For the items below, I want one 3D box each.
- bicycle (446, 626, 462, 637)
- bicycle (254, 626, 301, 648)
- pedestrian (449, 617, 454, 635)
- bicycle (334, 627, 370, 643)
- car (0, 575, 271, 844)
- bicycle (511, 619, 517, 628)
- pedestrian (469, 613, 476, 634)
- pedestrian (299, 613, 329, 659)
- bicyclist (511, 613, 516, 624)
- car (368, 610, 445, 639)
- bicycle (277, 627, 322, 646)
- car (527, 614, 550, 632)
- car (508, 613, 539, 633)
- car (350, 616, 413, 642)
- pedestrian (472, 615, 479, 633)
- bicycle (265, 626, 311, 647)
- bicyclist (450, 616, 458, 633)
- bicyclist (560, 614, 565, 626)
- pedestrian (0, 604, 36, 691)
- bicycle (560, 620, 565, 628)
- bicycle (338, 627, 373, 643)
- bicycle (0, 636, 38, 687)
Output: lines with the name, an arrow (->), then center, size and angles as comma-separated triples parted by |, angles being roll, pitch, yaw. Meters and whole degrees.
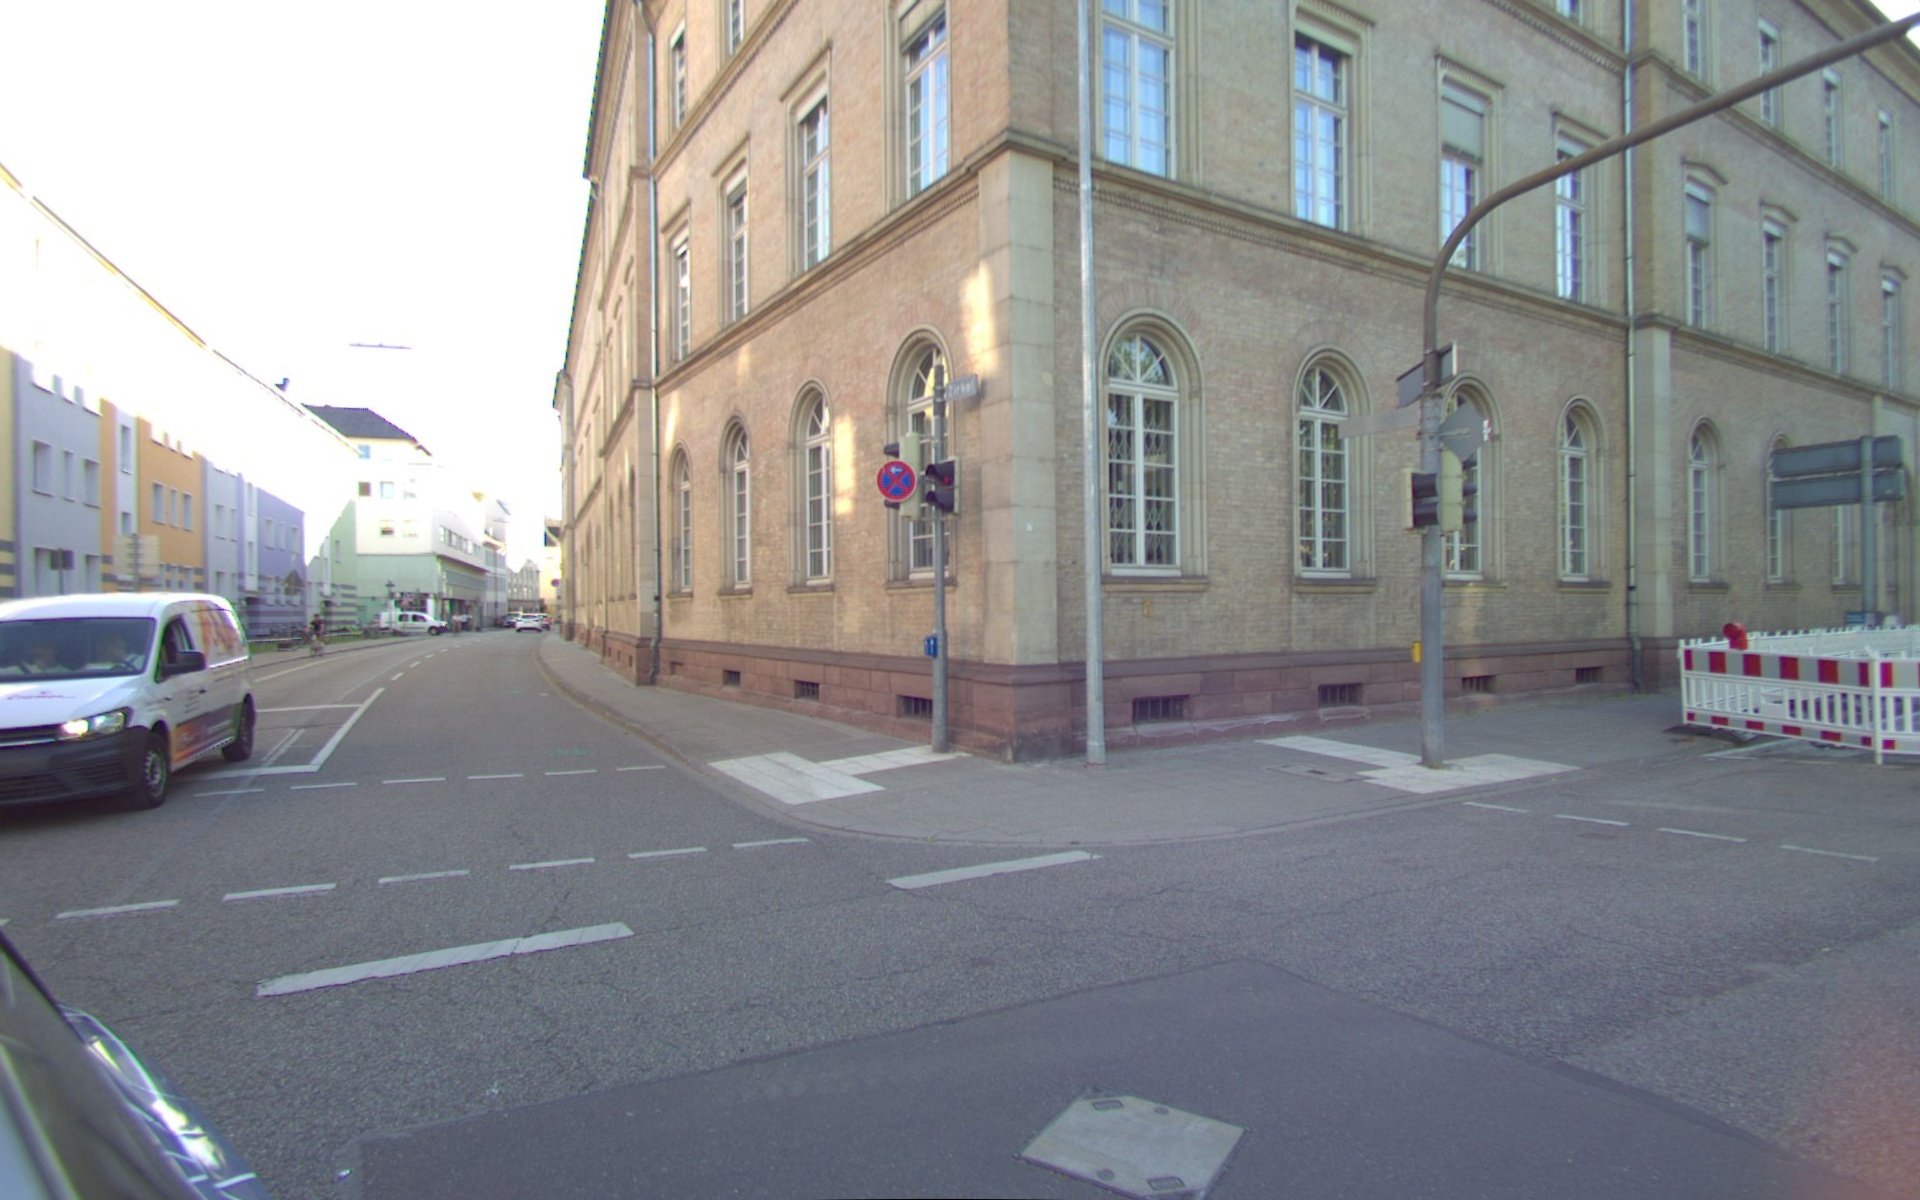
bicycle -> -34.933, 2.160, 69.874 | 0.345, 0.729, 1.111 | -1, -1, 18
bicycle -> -32.330, 1.752, 47.935 | 1.747, 1.003, 0.585 | 1, -1, -19
pedestrian -> -43.619, 2.242, 86.807 | 0.365, 1.567, 0.405 | -1, -1, -19
bicycle -> -36.979, 2.110, 61.548 | 1.747, 0.946, 0.585 | 1, -1, -19
car -> -7.945, 0.798, 9.307 | 1.789, 1.850, 5.359 | -1, -1, -25
bicycle -> -52.522, 2.749, 119.074 | 0.539, 1.091, 1.970 | -1, 0, -21
pedestrian -> -41.906, 2.032, 86.941 | 0.500, 1.775, 0.413 | -1, -1, -22
pedestrian -> -23.767, 1.310, 37.255 | 0.756, 1.632, 0.937 | -1, -1, -23
bicyclist -> -52.585, 2.189, 119.218 | 0.539, 1.220, 0.585 | -1, -1, -21
car -> -40.874, 1.786, 74.817 | 4.687, 1.953, 2.006 | -1, -1, -18
bicycle -> -32.628, 1.804, 49.982 | 1.747, 0.946, 0.585 | 1, -1, -19
car -> -39.495, 2.138, 94.942 | 1.662, 1.594, 4.288 | 1, -1, -19
car -> -34.419, 1.801, 79.876 | 1.860, 1.487, 4.559 | 1, -1, -19
car -> -44.209, 2.204, 77.458 | 3.931, 1.704, 1.907 | -3, 1, -22
pedestrian -> -42.891, 2.097, 89.540 | 0.500, 1.572, 0.413 | -1, -1, -22
bicycle -> -32.693, 1.759, 49.260 | 1.747, 1.003, 0.585 | 1, -1, -19
bicyclist -> -34.943, 1.686, 69.884 | 0.346, 1.116, 0.365 | -1, -1, 18
bicyclist -> -48.072, 2.388, 122.331 | 0.594, 1.454, 0.580 | -1, -1, -22
pedestrian -> -18.876, 0.924, 20.035 | 0.633, 1.684, 0.837 | 0, -1, -25
bicycle -> -48.074, 2.887, 122.371 | 0.599, 0.935, 2.272 | -1, -1, -22
bicycle -> -37.603, 2.162, 62.960 | 1.747, 0.946, 0.585 | 1, -1, -19
bicycle -> -20.557, 1.287, 21.198 | 1.747, 1.057, 0.585 | 1, -1, -31
